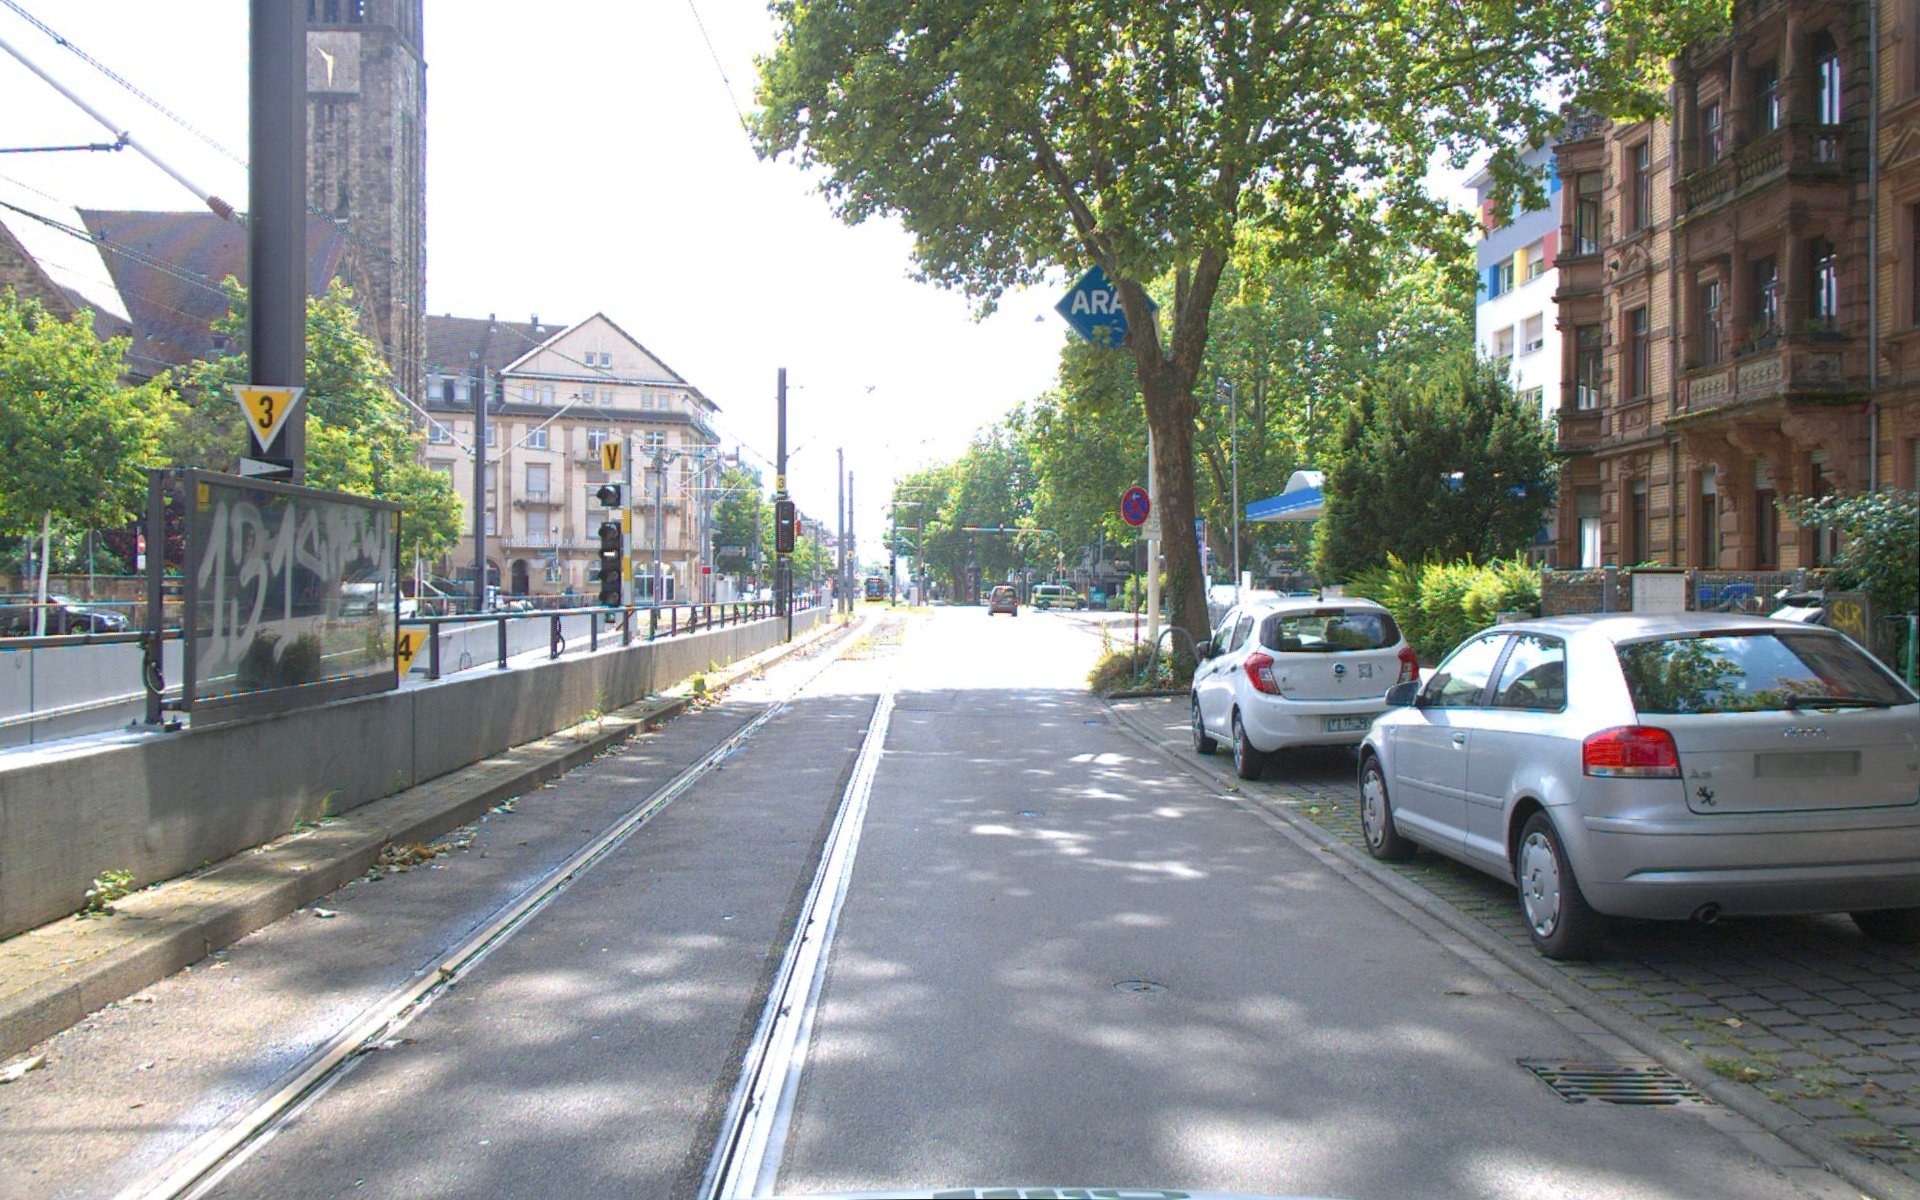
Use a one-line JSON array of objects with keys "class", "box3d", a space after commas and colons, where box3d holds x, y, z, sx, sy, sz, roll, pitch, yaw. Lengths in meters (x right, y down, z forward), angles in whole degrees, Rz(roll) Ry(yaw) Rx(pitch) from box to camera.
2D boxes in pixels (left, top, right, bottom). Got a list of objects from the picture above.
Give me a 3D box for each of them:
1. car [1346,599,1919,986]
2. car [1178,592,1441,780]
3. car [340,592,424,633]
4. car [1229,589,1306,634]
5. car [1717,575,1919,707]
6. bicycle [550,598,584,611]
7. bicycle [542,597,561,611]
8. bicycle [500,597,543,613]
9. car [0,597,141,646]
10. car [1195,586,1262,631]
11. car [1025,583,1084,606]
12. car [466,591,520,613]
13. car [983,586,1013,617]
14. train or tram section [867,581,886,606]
[{"class": "car", "box3d": [3.264, 0.740, 8.323, 1.644, 1.469, 3.857, 0, 0, -2]}, {"class": "car", "box3d": [3.085, 0.687, 15.315, 1.522, 1.511, 3.857, 0, 0, -2]}, {"class": "car", "box3d": [-22.357, 0.443, 64.133, 1.892, 1.531, 4.412, 0, 0, -3]}, {"class": "car", "box3d": [10.399, 0.367, 56.193, 1.769, 1.481, 4.000, 1, 0, -2]}, {"class": "car", "box3d": [11.825, 0.446, 20.326, 4.148, 1.495, 1.941, -1, 0, -1]}, {"class": "bicycle", "box3d": [-31.404, 0.366, 132.133, 2.529, 1.071, 0.676, 0, 0, -29]}, {"class": "bicycle", "box3d": [-32.907, 0.330, 133.240, 0.795, 1.071, 2.540, 0, 0, -30]}, {"class": "bicycle", "box3d": [-34.744, 0.416, 131.171, 3.239, 1.275, 0.999, 0, 0, 15]}, {"class": "car", "box3d": [-28.030, 0.649, 51.799, 3.882, 1.489, 1.723, 0, 0, -1]}, {"class": "car", "box3d": [10.220, 0.314, 63.225, 1.769, 1.630, 4.582, 1, 0, 0]}, {"class": "car", "box3d": [8.089, -0.486, 141.270, 4.654, 1.892, 1.993, 0, 0, -14]}, {"class": "car", "box3d": [-36.714, 0.116, 130.052, 3.914, 1.703, 1.995, 0, 0, 32]}, {"class": "car", "box3d": [2.389, 0.100, 104.253, 1.715, 1.840, 3.474, 2, 0, -1]}, {"class": "train or tram section", "box3d": [-11.725, -0.911, 233.247, 2.195, 3.390, 12.969, 0, 0, -1]}]
